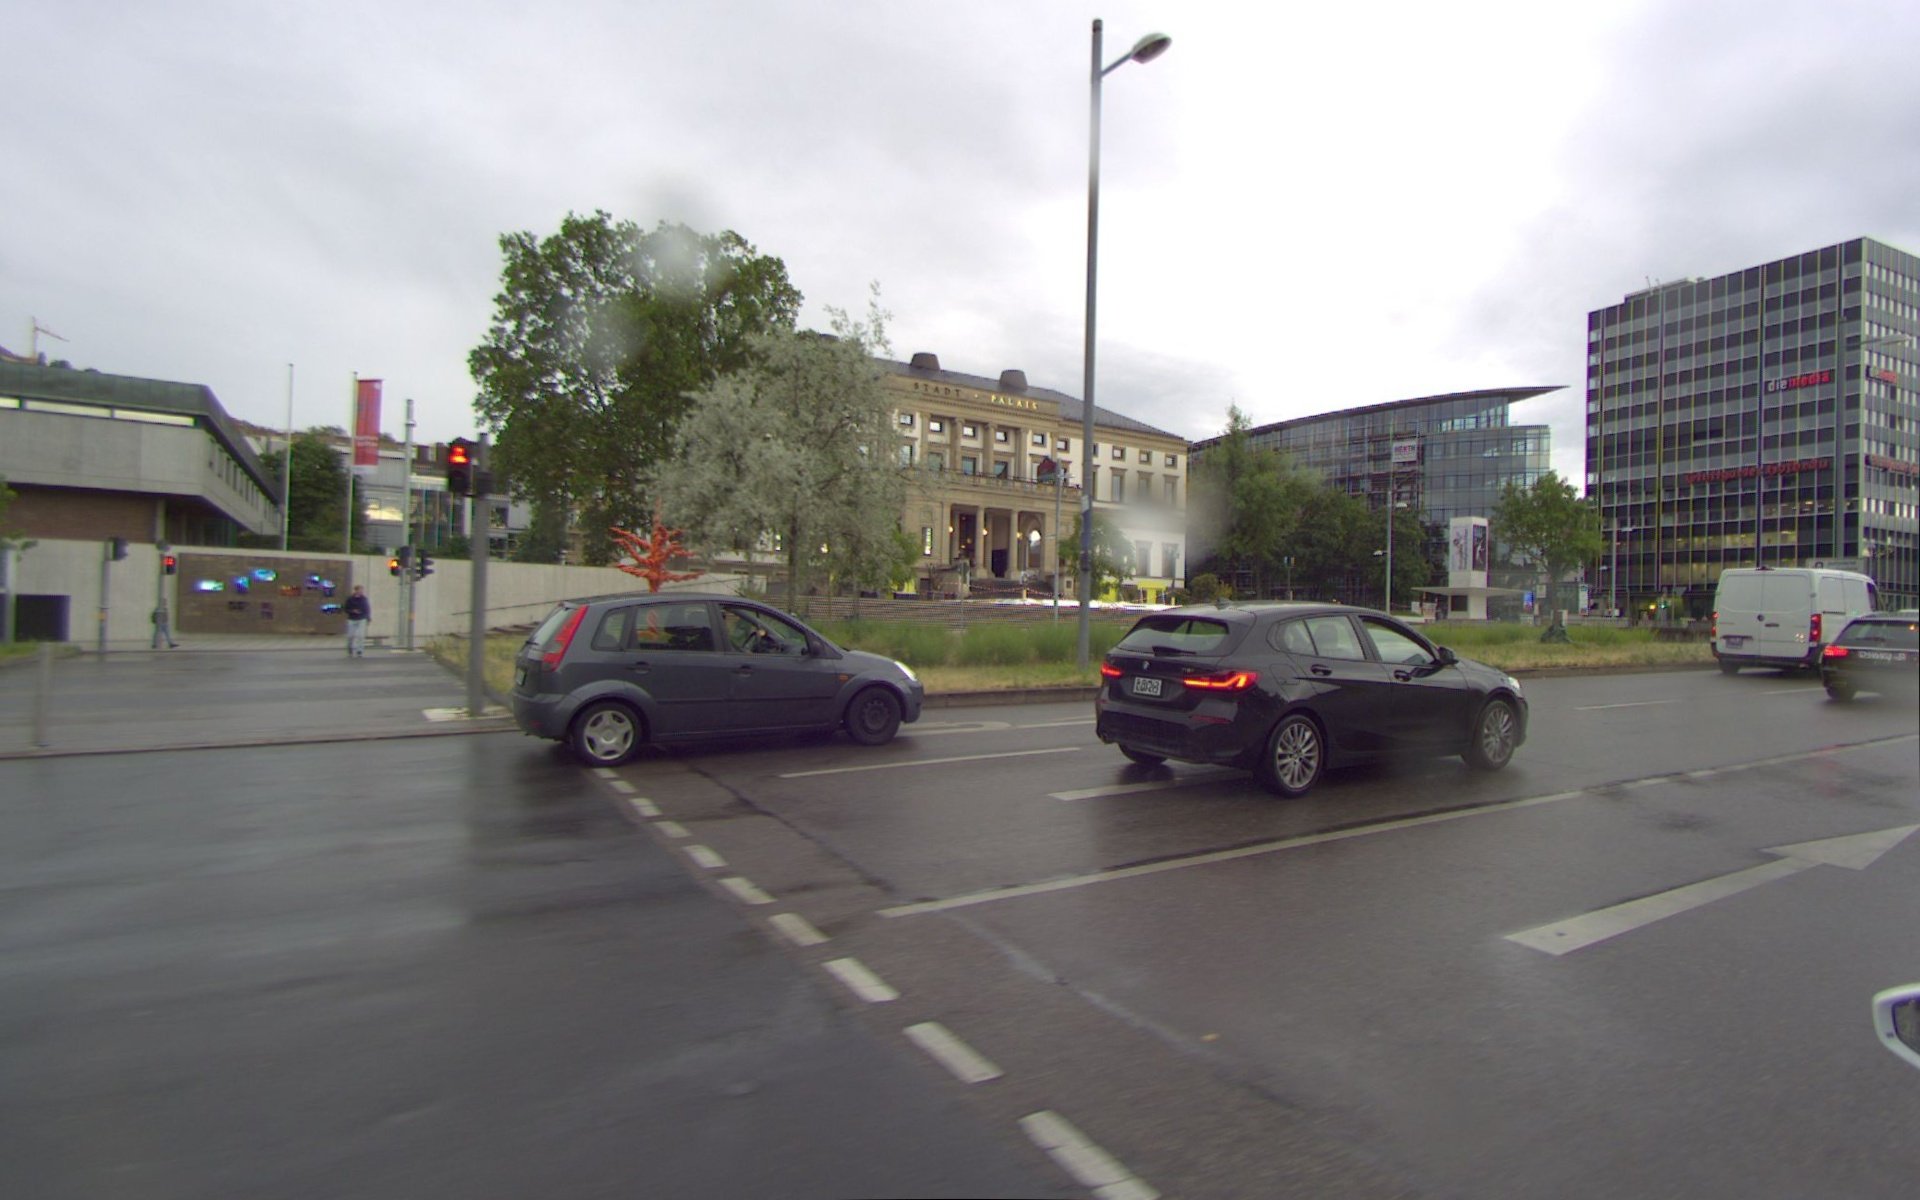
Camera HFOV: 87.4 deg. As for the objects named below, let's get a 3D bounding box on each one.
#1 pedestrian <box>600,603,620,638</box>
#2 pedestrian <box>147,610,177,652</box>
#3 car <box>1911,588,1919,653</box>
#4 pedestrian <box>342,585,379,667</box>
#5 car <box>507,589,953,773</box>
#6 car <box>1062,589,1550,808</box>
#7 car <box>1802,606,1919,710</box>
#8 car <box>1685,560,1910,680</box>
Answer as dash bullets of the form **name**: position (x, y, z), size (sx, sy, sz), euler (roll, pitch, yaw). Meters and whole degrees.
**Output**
- **pedestrian**: position (-15.058, 0.872, 43.242), size (0.626, 1.441, 0.489), euler (3, -1, -34)
- **pedestrian**: position (-27.206, 1.066, 34.254), size (0.565, 1.401, 0.468), euler (3, -1, 2)
- **car**: position (27.408, 0.633, 27.360), size (3.107, 1.729, 1.456), euler (4, -1, -32)
- **pedestrian**: position (-16.014, 0.668, 26.843), size (0.717, 2.120, 0.763), euler (-3, 3, -31)
- **car**: position (-2.103, 0.643, 9.543), size (3.858, 1.434, 1.534), euler (1, 0, -32)
- **car**: position (3.081, 0.714, 8.704), size (4.175, 1.491, 1.744), euler (2, 0, -32)
- **car**: position (15.398, 0.884, 16.080), size (3.357, 1.514, 1.822), euler (1, 0, -28)
- **car**: position (18.886, 0.489, 22.614), size (4.947, 2.344, 2.282), euler (4, -1, -30)
